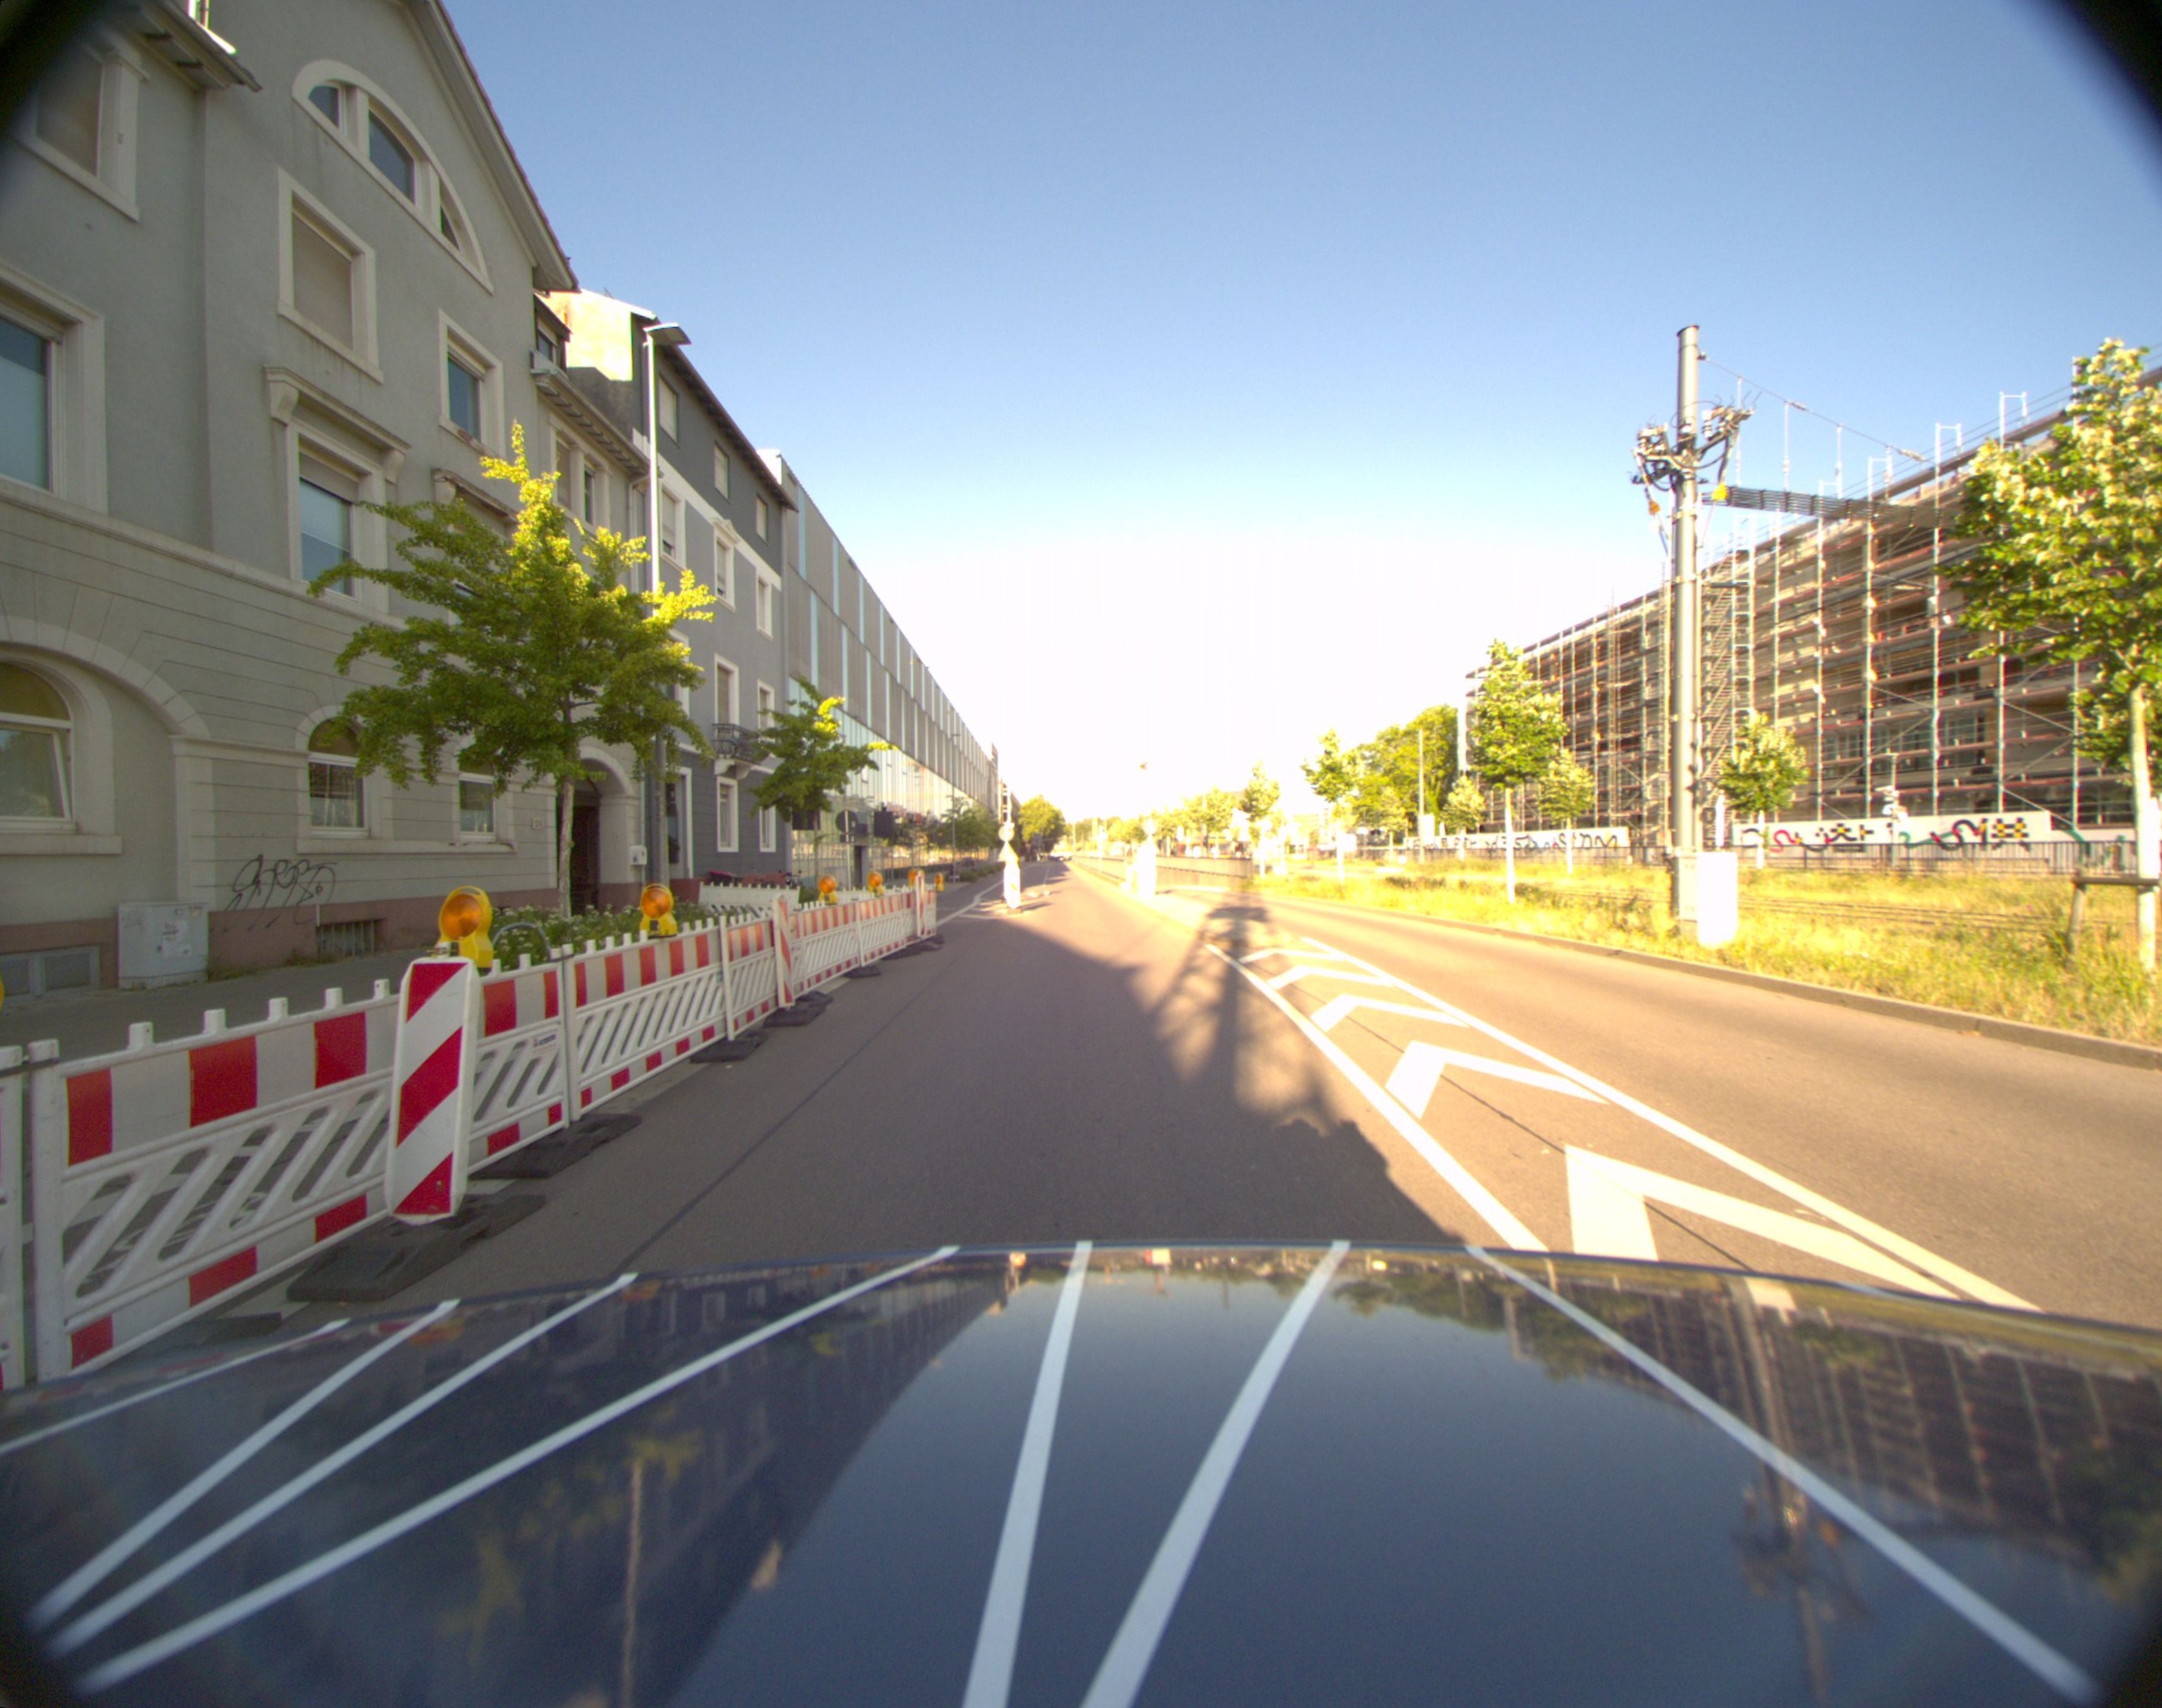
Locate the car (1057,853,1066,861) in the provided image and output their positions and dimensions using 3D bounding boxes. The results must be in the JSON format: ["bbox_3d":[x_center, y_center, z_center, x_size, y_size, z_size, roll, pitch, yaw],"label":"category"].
[{"bbox_3d":[-4.846,0.767,187.011,1.941,2.002,3.825,-1,0,-3],"label":"car"}]

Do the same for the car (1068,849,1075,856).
[{"bbox_3d":[-3.088,-0.534,247.874,1.941,2.002,3.825,-1,0,-3],"label":"car"}]

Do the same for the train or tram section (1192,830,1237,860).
[{"bbox_3d":[16.376,-1.145,94.227,2.954,3.378,12.630,-2,1,-2],"label":"train or tram section"}]

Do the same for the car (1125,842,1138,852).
[{"bbox_3d":[8.855,-1.247,132.969,1.998,1.740,3.999,-2,1,1],"label":"car"}]

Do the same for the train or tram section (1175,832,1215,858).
[{"bbox_3d":[15.991,-1.244,107.939,2.954,3.378,14.761,-2,1,-2],"label":"train or tram section"}]

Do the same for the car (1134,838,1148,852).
[{"bbox_3d":[9.481,-1.413,120.268,1.998,2.002,3.999,-2,1,1],"label":"car"}]
